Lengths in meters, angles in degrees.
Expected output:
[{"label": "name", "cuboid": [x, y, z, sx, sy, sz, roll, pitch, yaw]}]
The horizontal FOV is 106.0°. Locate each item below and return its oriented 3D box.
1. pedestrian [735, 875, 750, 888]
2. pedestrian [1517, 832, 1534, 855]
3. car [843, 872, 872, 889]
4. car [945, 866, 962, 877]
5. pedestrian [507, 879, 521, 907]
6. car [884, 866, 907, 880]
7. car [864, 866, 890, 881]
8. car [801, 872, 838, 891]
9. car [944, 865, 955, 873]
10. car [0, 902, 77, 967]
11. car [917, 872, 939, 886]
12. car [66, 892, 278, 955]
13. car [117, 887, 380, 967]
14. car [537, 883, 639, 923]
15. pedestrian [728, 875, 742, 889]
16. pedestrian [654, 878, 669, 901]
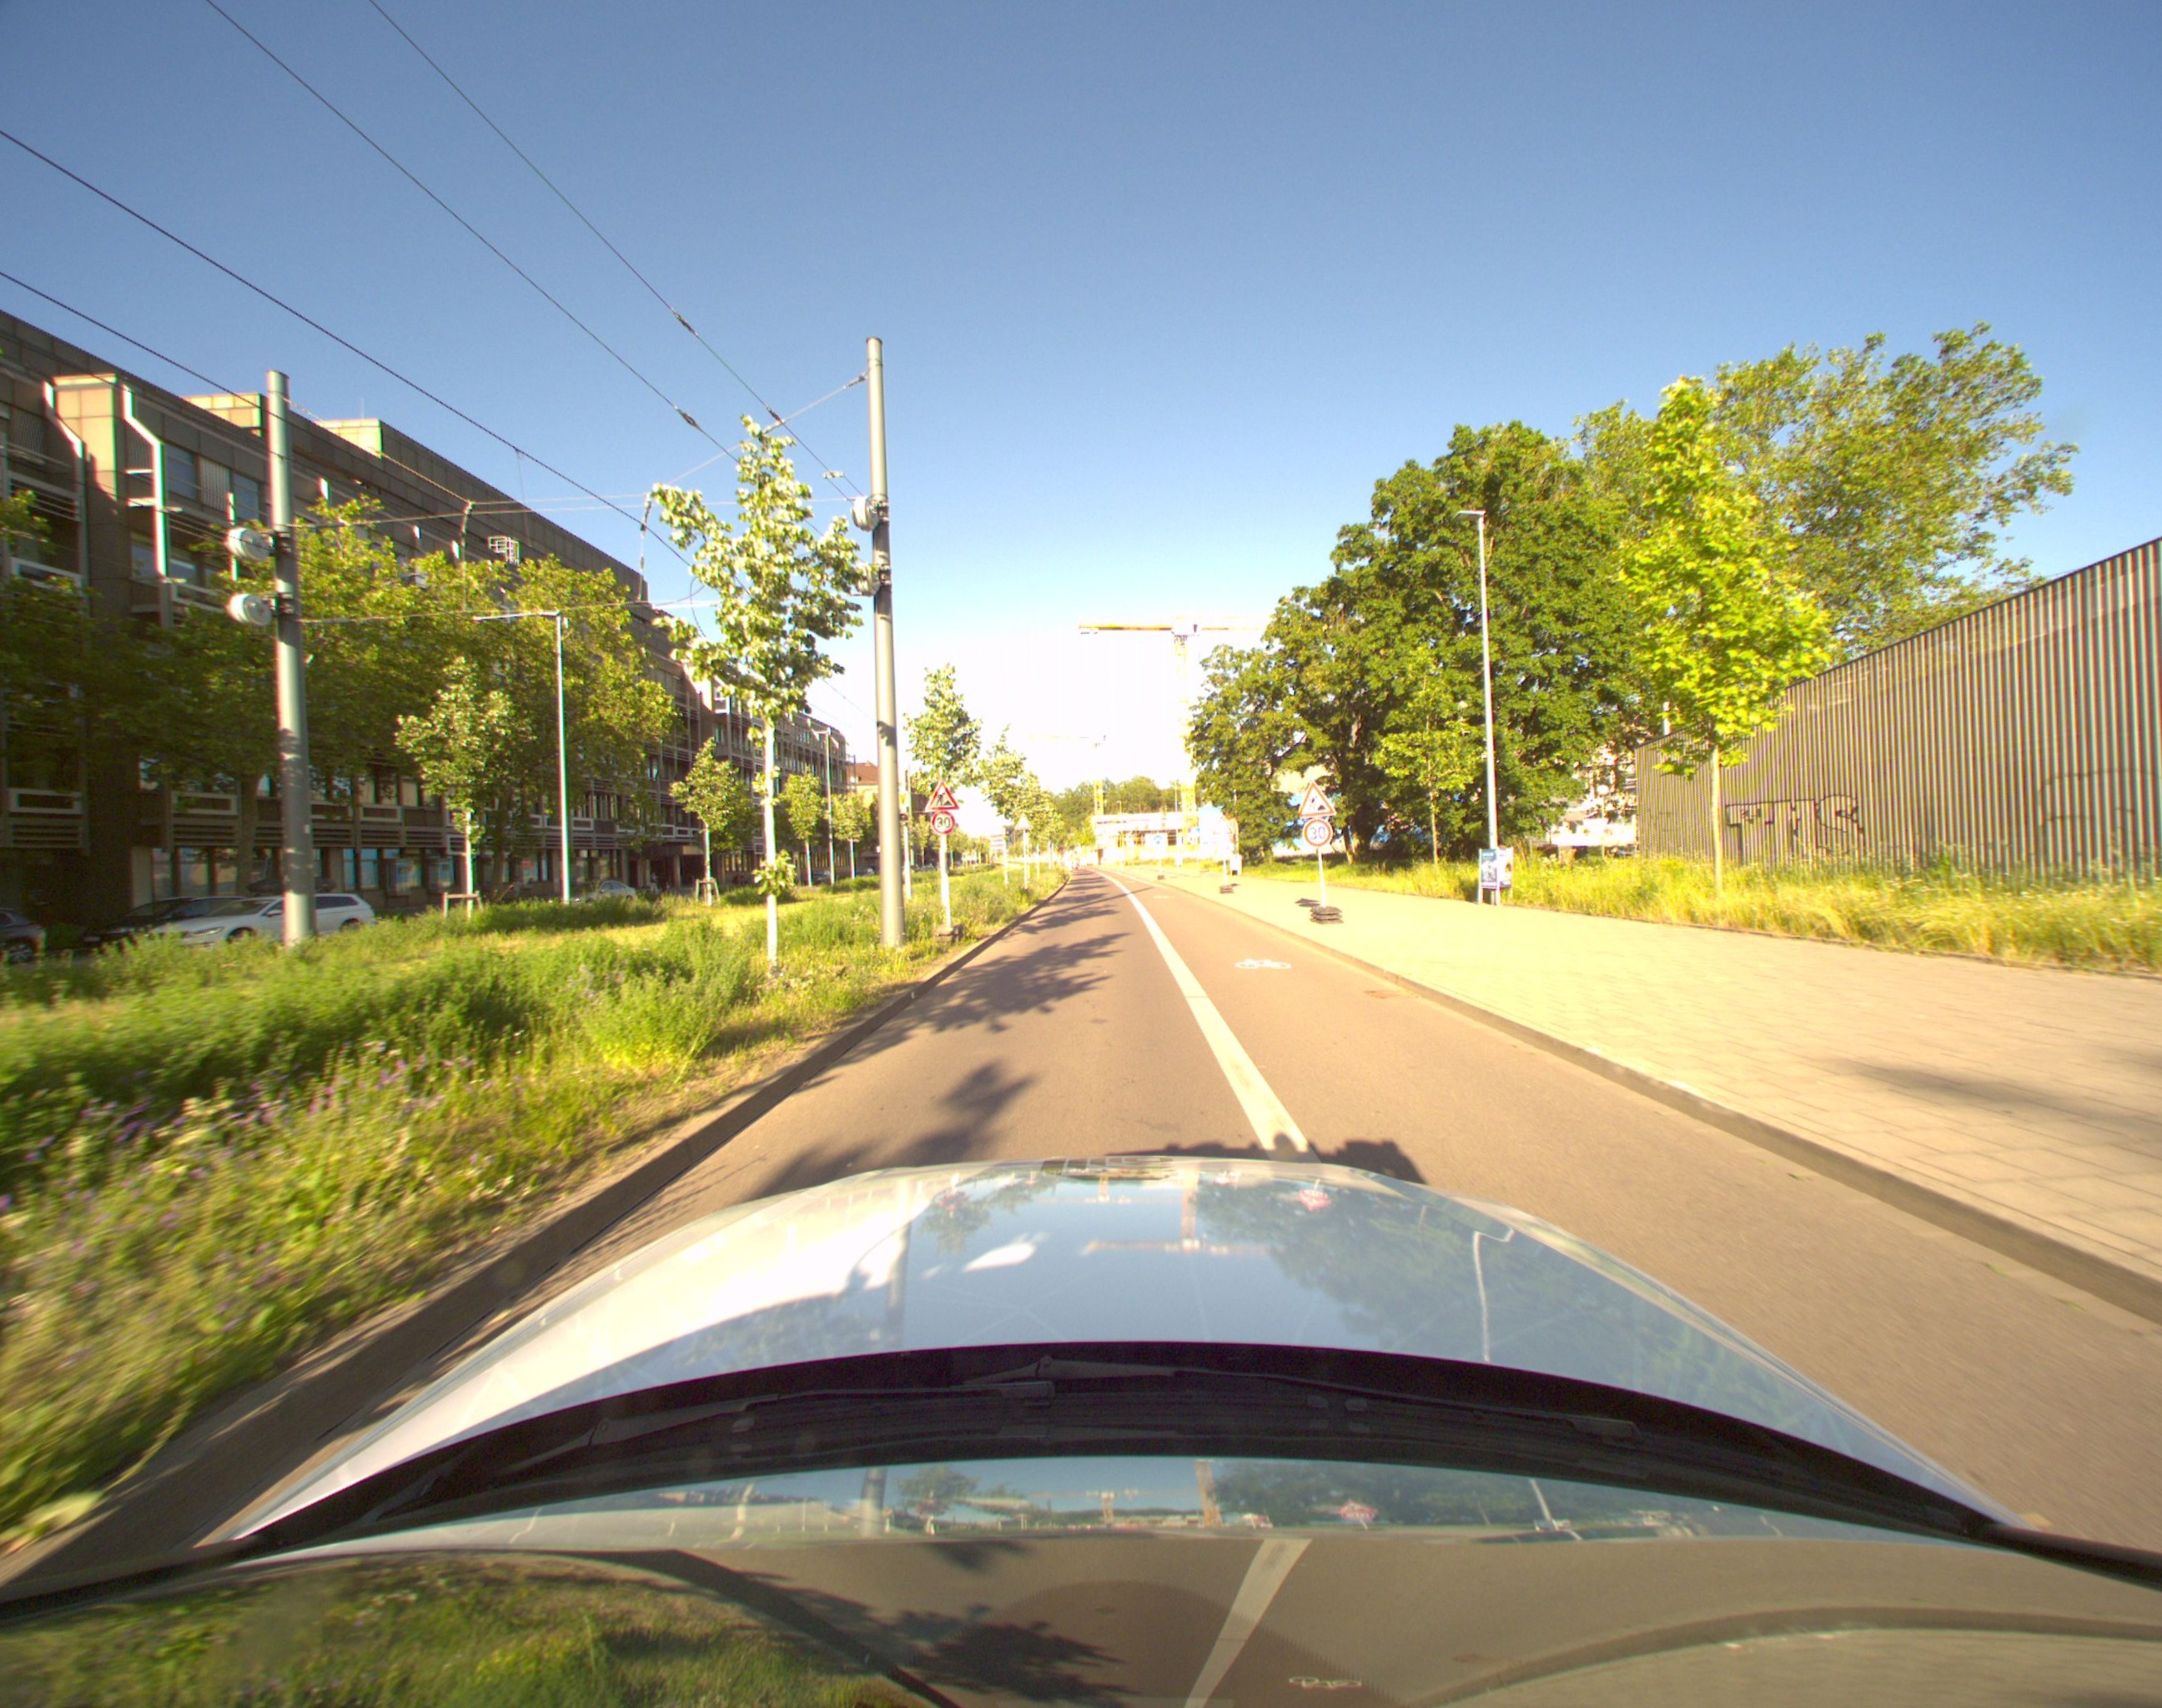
[{"label": "pedestrian", "cuboid": [-30.997, 2.495, 74.510, 0.896, 1.169, 0.899, -3, -1, 1]}, {"label": "pedestrian", "cuboid": [41.281, -0.975, 75.622, 0.915, 2.014, 0.941, -1, -2, -28]}, {"label": "car", "cuboid": [-24.489, 2.897, 89.366, 1.897, 1.575, 4.300, -3, 0, 0]}, {"label": "car", "cuboid": [-20.680, 2.776, 132.229, 1.897, 1.575, 4.300, -3, 0, 0]}, {"label": "pedestrian", "cuboid": [-32.488, 2.253, 46.678, 0.407, 1.561, 0.447, -2, -1, 2]}, {"label": "car", "cuboid": [-24.008, 2.451, 105.661, 1.897, 1.575, 4.300, -3, 0, 0]}, {"label": "car", "cuboid": [-23.861, 2.303, 95.437, 1.897, 1.575, 4.300, -3, 0, 0]}, {"label": "car", "cuboid": [-24.057, 2.484, 75.129, 1.897, 1.575, 4.300, -3, 0, 0]}, {"label": "car", "cuboid": [-27.166, 3.014, 167.975, 1.901, 1.575, 4.291, -3, 0, -6]}, {"label": "car", "cuboid": [-29.451, 2.236, 20.822, 1.902, 1.632, 4.367, -4, 0, 4]}, {"label": "car", "cuboid": [-19.566, 3.123, 104.062, 1.897, 1.575, 4.410, -3, 0, 0]}, {"label": "car", "cuboid": [-29.000, 2.169, 26.230, 1.853, 1.596, 4.280, -3, -1, 3]}, {"label": "car", "cuboid": [-21.281, 1.772, 21.173, 1.833, 1.594, 4.695, -3, 0, 2]}, {"label": "car", "cuboid": [-22.904, 2.245, 38.091, 1.751, 1.516, 4.585, -3, -1, 2]}, {"label": "pedestrian", "cuboid": [-31.187, 2.501, 73.427, 0.897, 1.169, 0.865, -3, -1, 0]}, {"label": "pedestrian", "cuboid": [-29.214, 2.461, 56.766, 0.662, 1.532, 0.648, -3, -1, -4]}]
